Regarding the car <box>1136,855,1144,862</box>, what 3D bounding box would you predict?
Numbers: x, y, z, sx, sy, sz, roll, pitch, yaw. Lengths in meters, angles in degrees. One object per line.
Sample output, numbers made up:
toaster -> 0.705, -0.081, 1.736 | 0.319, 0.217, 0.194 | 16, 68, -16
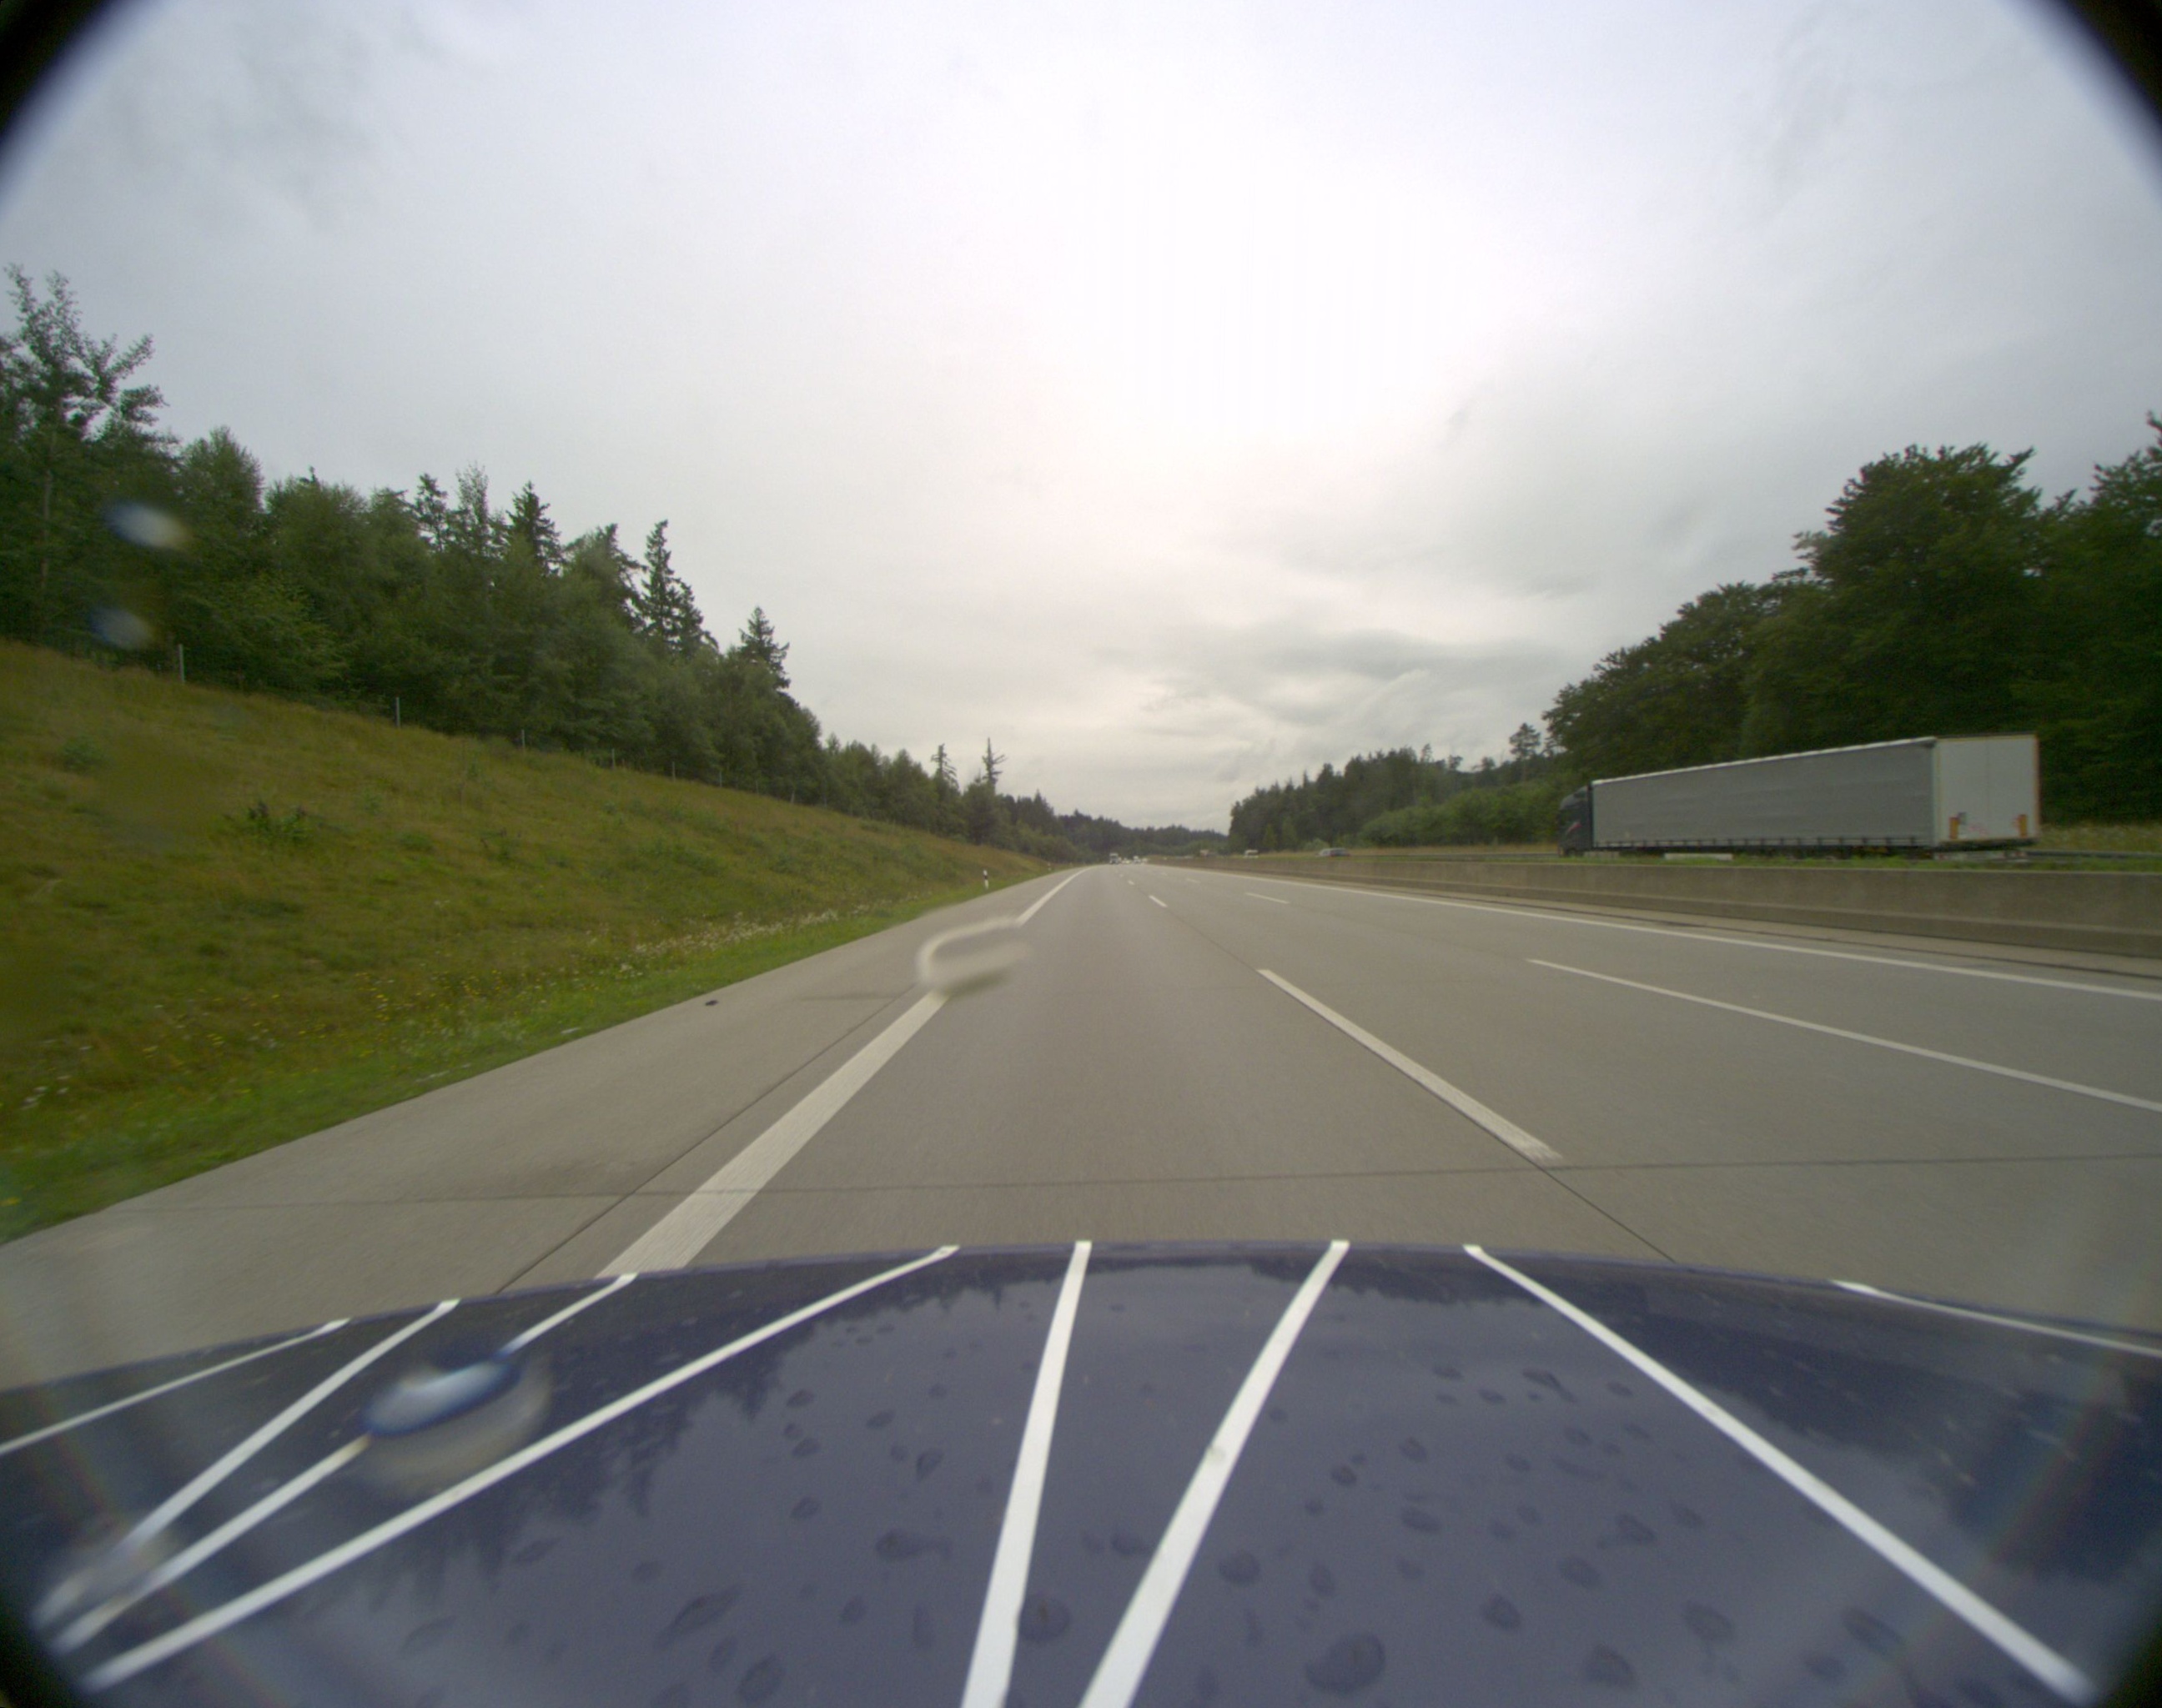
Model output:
car -> 18.840, 1.513, 241.636 | 2.213, 2.001, 4.835 | -3, -1, 2

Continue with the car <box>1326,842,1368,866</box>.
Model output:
car -> 18.879, -0.009, 54.019 | 1.692, 1.623, 3.594 | -2, 1, 1

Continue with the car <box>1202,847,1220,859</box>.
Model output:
car -> 19.118, -0.122, 112.016 | 1.998, 1.620, 4.000 | -2, 1, 1

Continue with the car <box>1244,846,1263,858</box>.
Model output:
car -> 25.915, -0.264, 114.138 | 1.998, 1.620, 4.153 | -2, 0, 1

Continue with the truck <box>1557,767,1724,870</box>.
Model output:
truck -> 24.181, -1.424, 33.284 | 2.810, 4.004, 6.084 | -2, 0, 1

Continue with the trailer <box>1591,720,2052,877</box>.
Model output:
trailer -> 24.053, -1.427, 26.861 | 2.817, 3.996, 13.989 | -2, 0, 1
